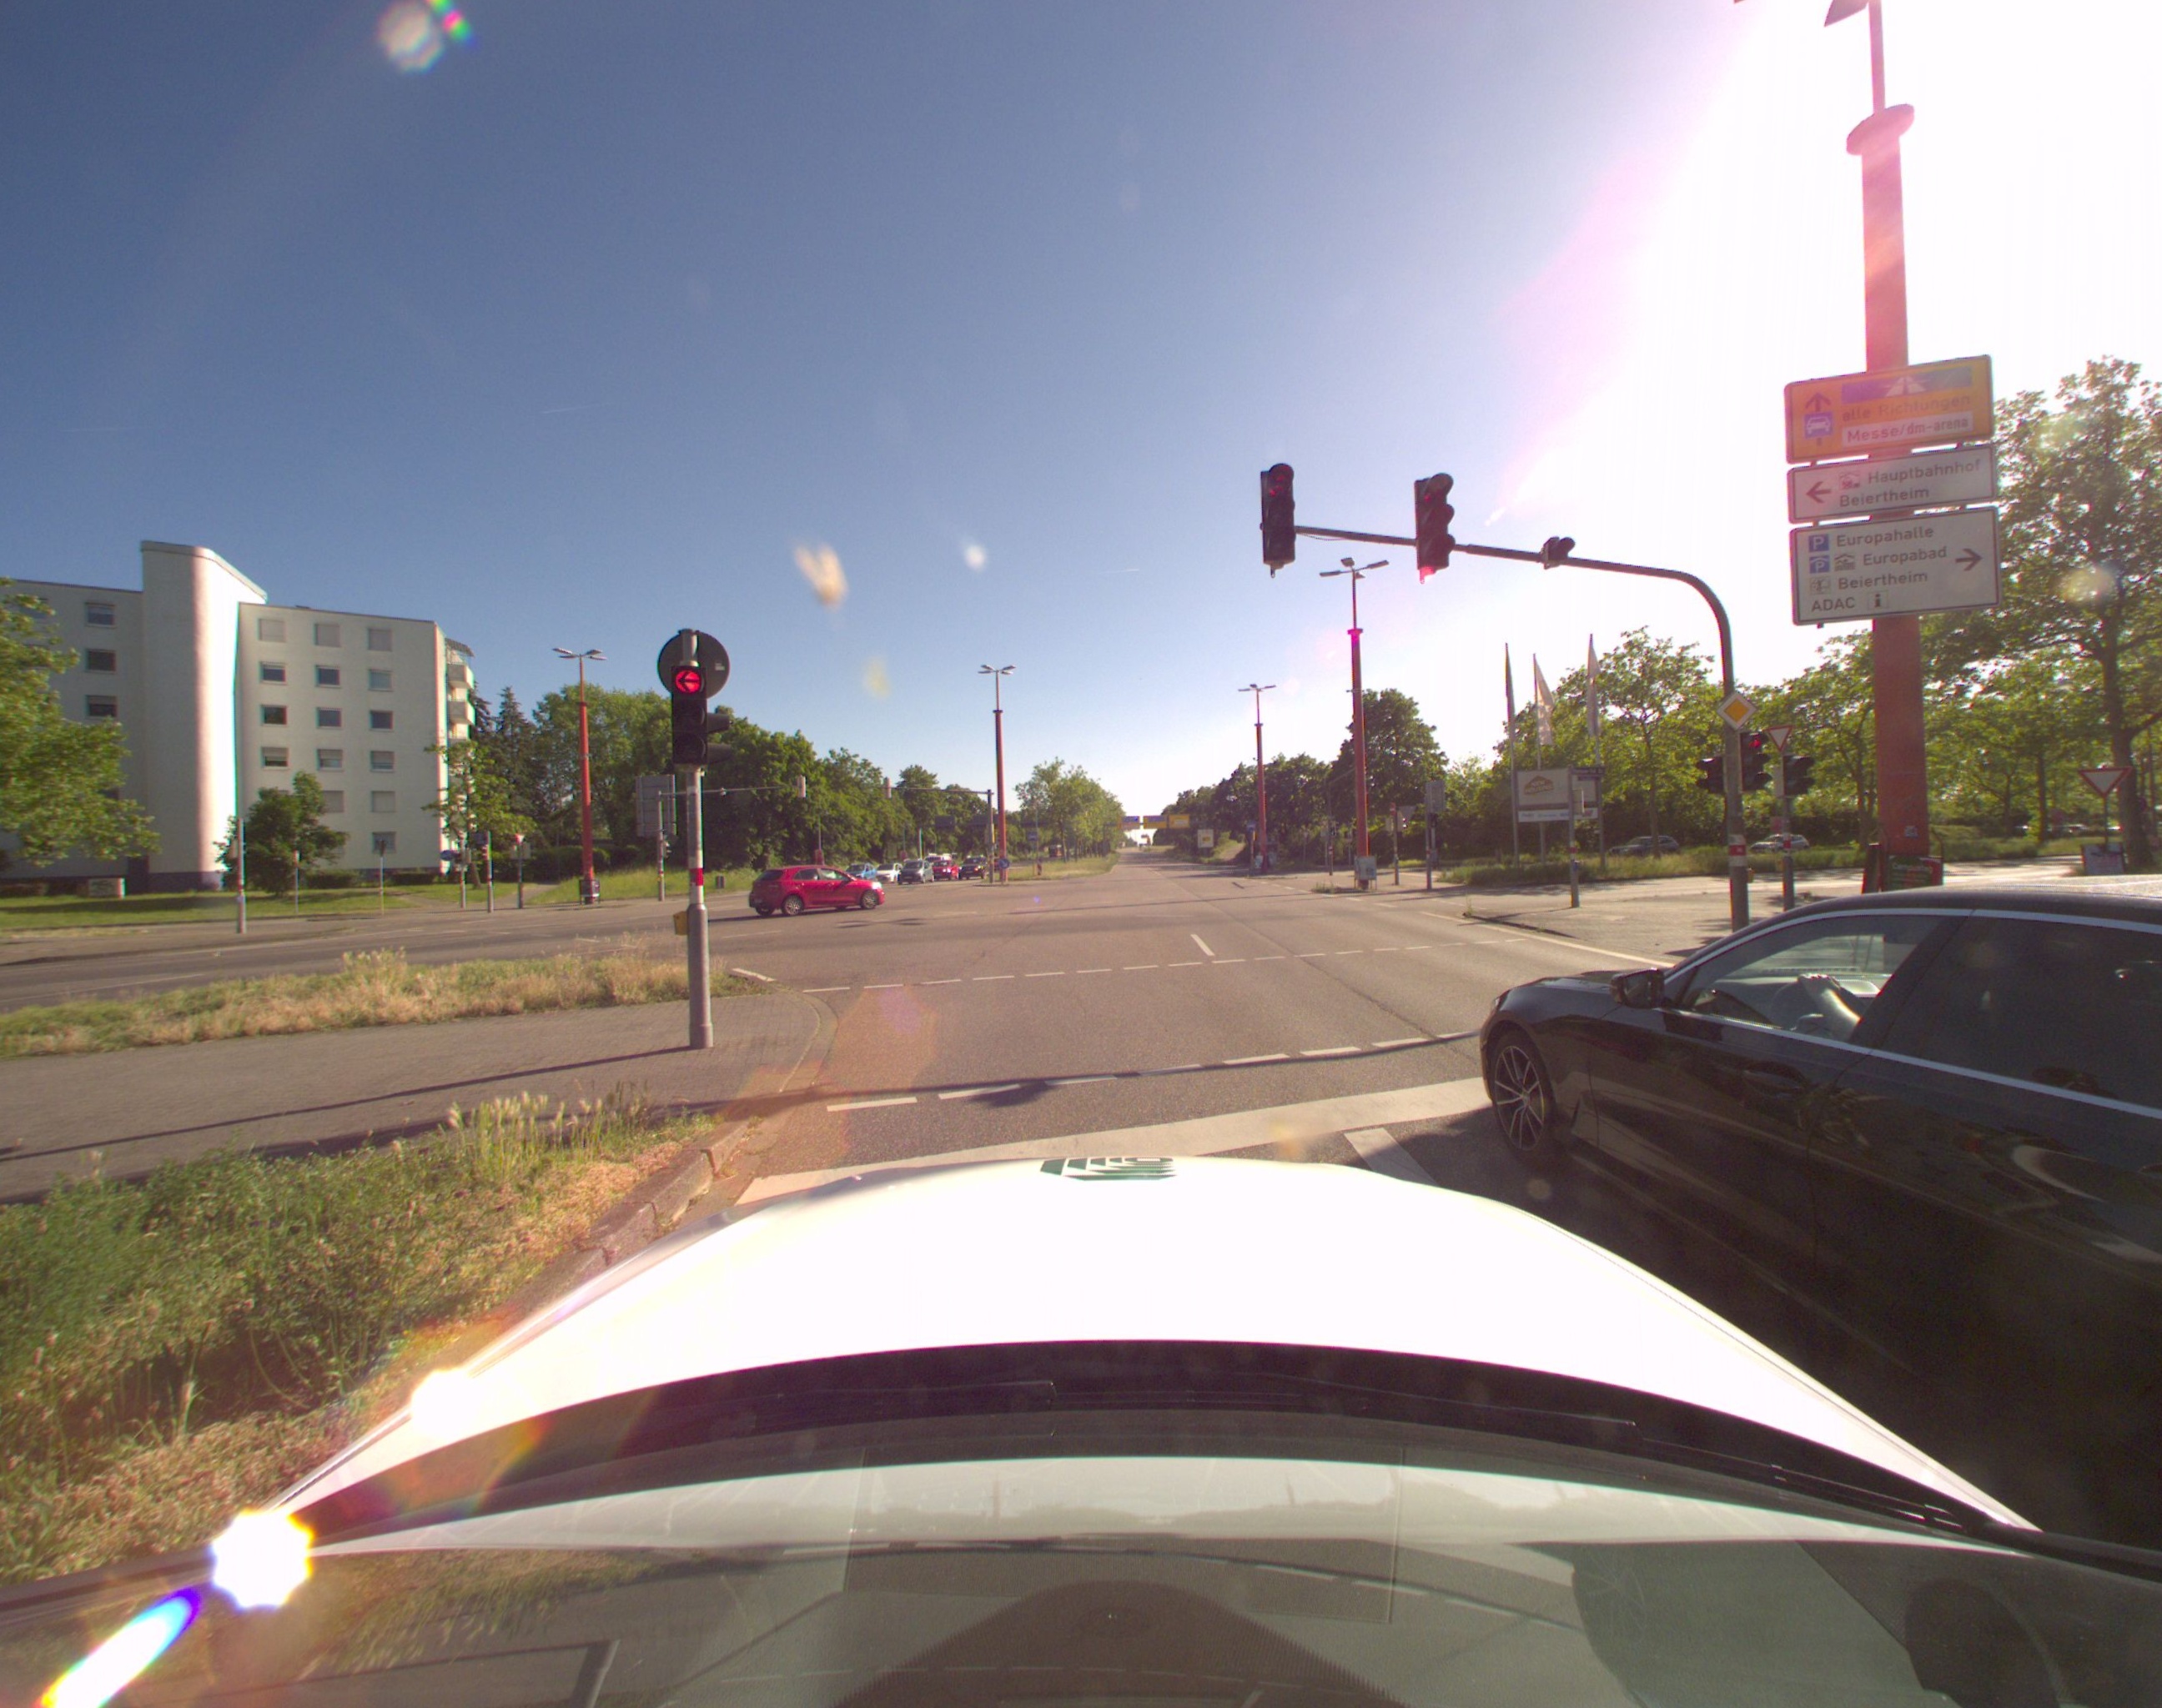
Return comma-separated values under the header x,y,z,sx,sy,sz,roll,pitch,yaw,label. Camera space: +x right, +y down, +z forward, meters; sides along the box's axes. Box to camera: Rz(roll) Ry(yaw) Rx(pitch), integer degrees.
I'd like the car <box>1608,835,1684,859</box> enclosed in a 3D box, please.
x,y,z,sx,sy,sz,roll,pitch,yaw,label
38.054,-0.464,54.855,4.320,1.485,1.777,-2,0,-13,car

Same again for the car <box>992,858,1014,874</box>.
x,y,z,sx,sy,sz,roll,pitch,yaw,label
-8.134,1.229,85.245,1.812,1.629,4.002,-2,0,2,car

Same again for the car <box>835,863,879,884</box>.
x,y,z,sx,sy,sz,roll,pitch,yaw,label
-14.089,1.211,51.418,1.733,1.243,3.613,-2,0,1,car

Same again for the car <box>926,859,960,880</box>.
x,y,z,sx,sy,sz,roll,pitch,yaw,label
-9.907,1.087,58.638,1.733,1.362,3.613,-2,0,1,car

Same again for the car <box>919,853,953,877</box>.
x,y,z,sx,sy,sz,roll,pitch,yaw,label
-12.641,0.925,71.365,1.886,2.026,5.224,-1,0,1,car

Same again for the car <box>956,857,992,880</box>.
x,y,z,sx,sy,sz,roll,pitch,yaw,label
-7.438,0.979,57.069,1.812,1.508,4.002,-2,0,2,car

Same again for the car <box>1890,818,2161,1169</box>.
x,y,z,sx,sy,sz,roll,pitch,yaw,label
5.670,0.601,2.861,1.732,1.578,4.032,-2,0,3,car

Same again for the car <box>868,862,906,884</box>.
x,y,z,sx,sy,sz,roll,pitch,yaw,label
-13.672,1.318,57.528,1.733,1.411,3.613,-2,0,1,car

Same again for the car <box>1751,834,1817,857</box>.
x,y,z,sx,sy,sz,roll,pitch,yaw,label
49.852,-0.601,57.751,3.991,1.467,1.674,-2,0,-17,car

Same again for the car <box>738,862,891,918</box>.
x,y,z,sx,sy,sz,roll,pitch,yaw,label
-7.957,1.025,24.627,1.664,1.435,4.090,-2,0,41,car

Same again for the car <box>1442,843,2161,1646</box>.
x,y,z,sx,sy,sz,roll,pitch,yaw,label
2.889,0.687,2.374,1.862,1.398,4.446,-2,0,3,car

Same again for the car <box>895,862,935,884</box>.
x,y,z,sx,sy,sz,roll,pitch,yaw,label
-10.605,1.188,52.306,1.733,1.243,3.613,-2,0,1,car

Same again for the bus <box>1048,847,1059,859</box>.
x,y,z,sx,sy,sz,roll,pitch,yaw,label
-7.777,-0.397,230.429,2.482,3.238,10.004,-2,0,2,bus
